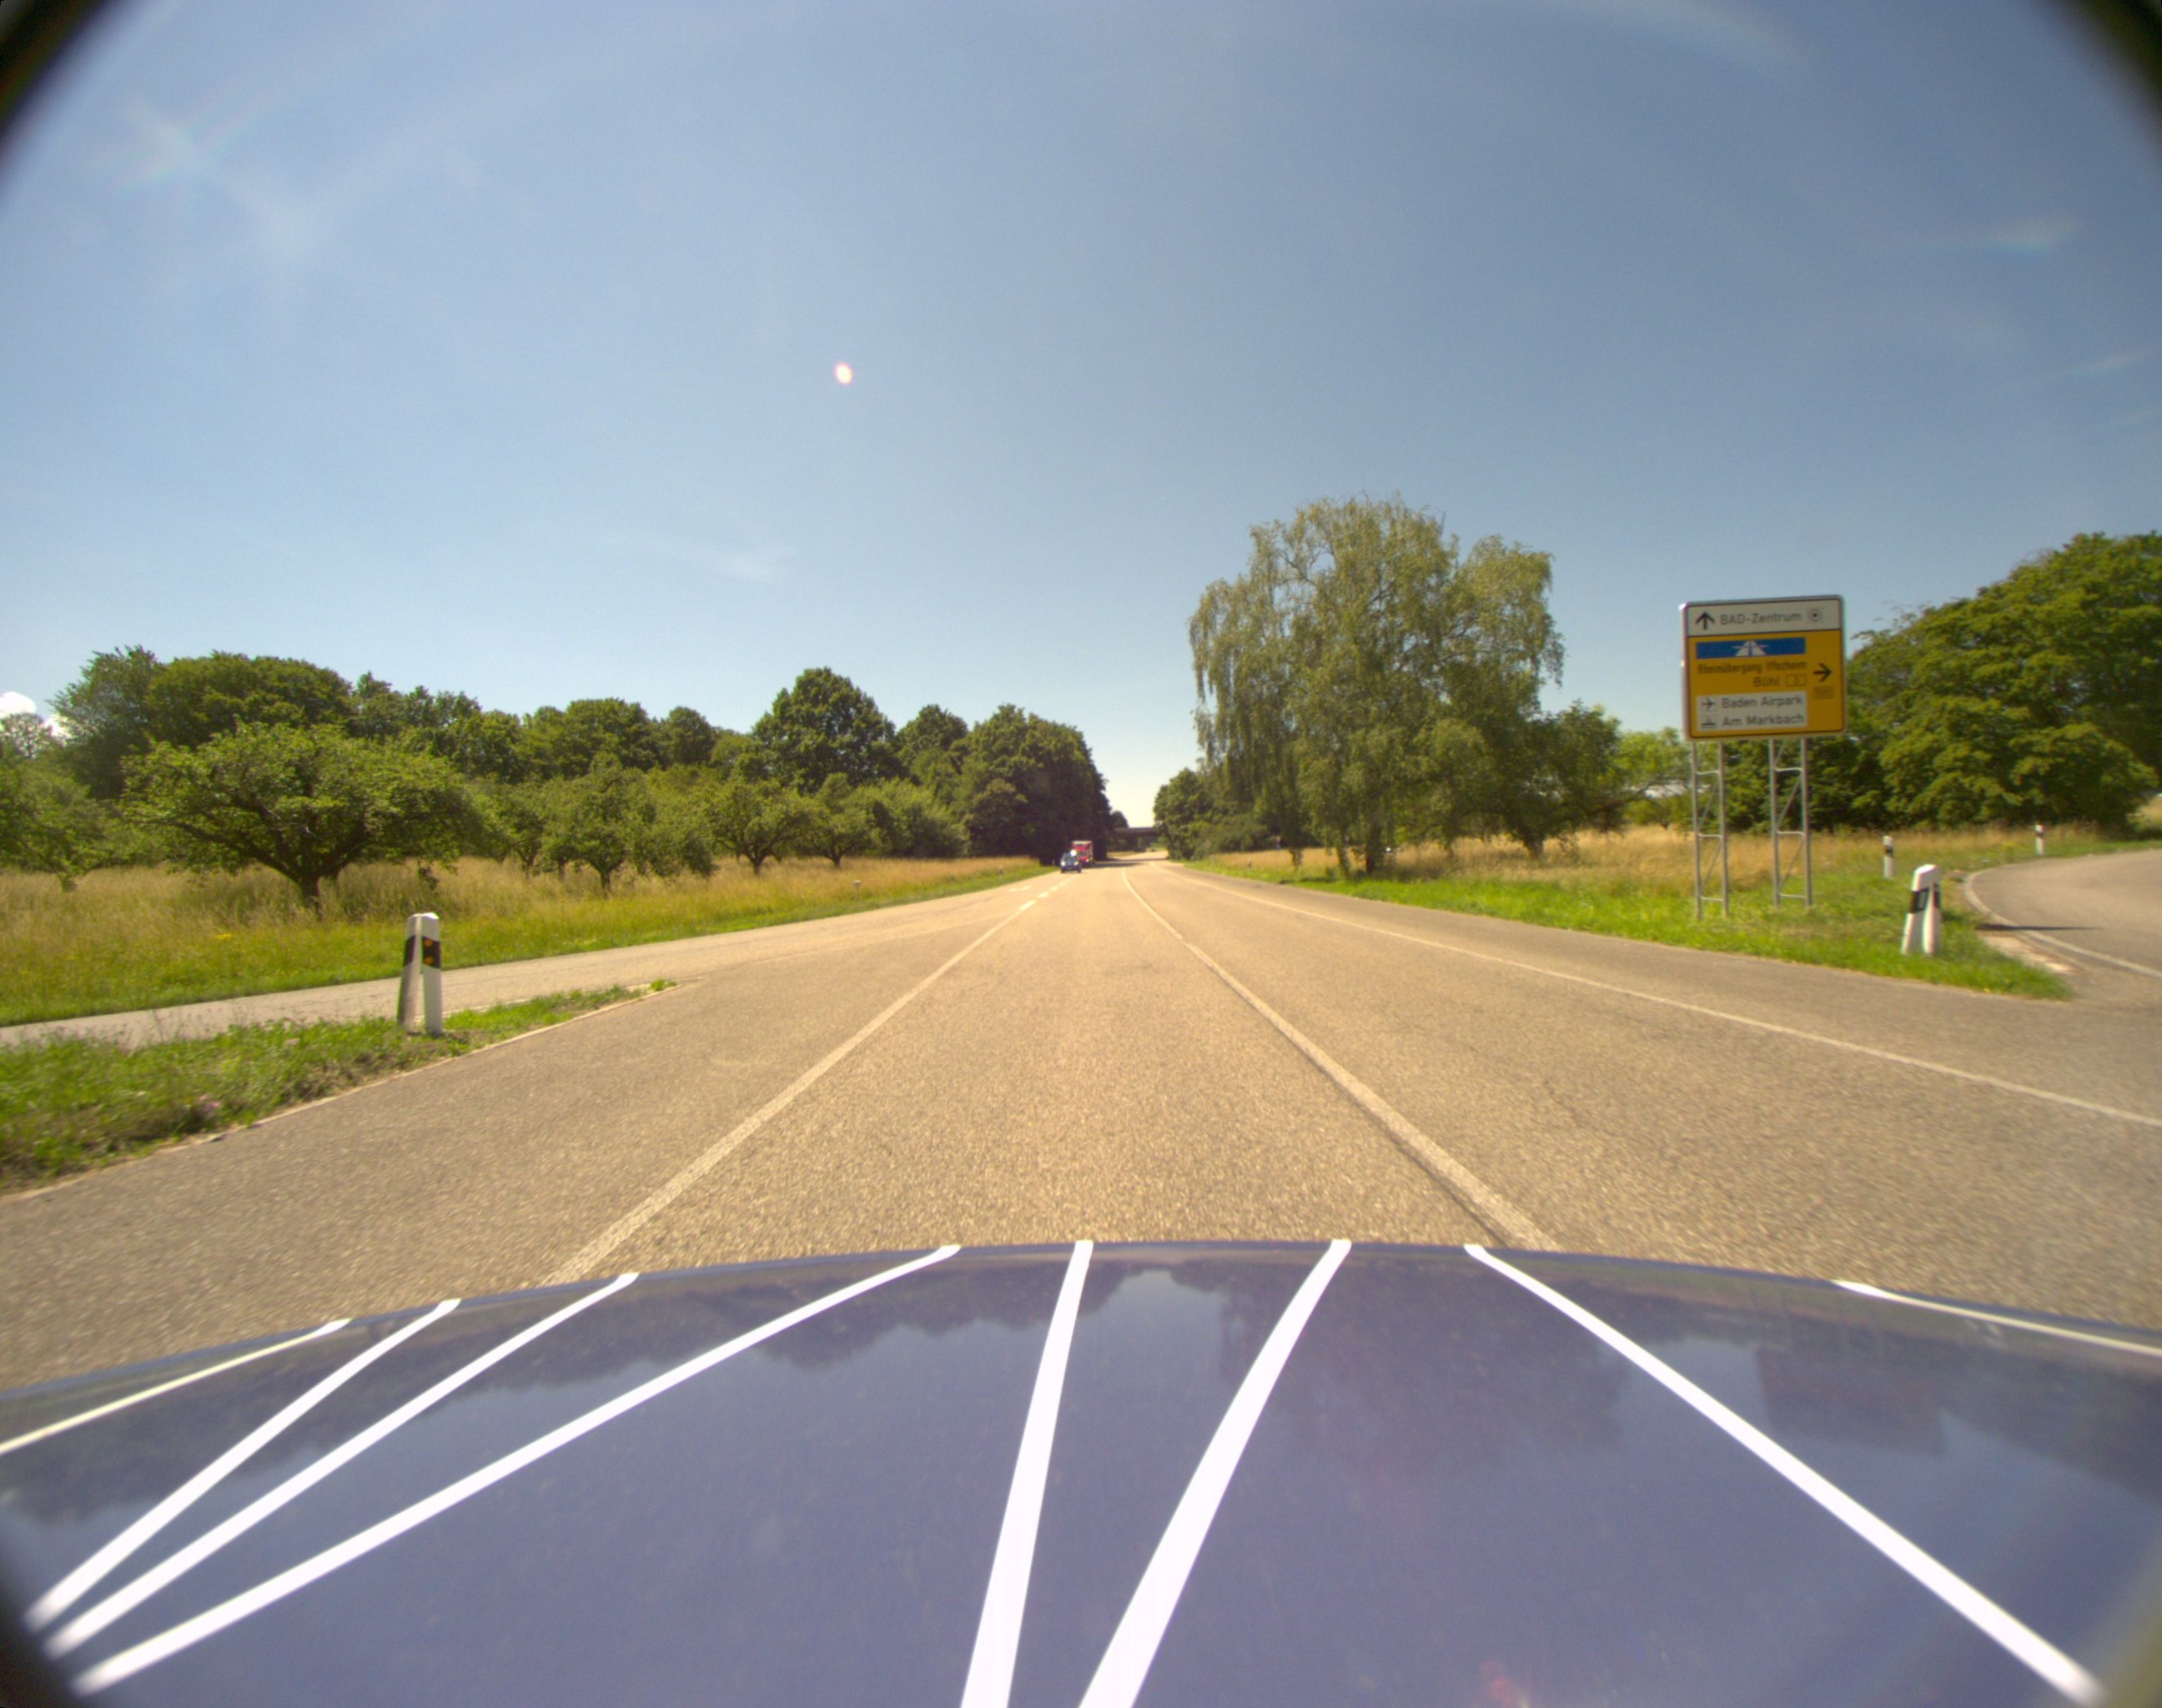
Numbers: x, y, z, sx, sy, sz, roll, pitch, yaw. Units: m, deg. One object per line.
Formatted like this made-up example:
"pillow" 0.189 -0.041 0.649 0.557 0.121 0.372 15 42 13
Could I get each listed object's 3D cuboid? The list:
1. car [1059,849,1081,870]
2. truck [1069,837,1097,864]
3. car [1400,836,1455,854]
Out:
"car" -0.976 0.464 68.009 1.746 1.833 4.000 -2 0 2
"truck" 0.283 -0.456 89.072 2.456 2.927 6.977 -1 1 7
"car" 29.680 -0.743 65.185 1.667 1.458 3.989 -2 0 -39
